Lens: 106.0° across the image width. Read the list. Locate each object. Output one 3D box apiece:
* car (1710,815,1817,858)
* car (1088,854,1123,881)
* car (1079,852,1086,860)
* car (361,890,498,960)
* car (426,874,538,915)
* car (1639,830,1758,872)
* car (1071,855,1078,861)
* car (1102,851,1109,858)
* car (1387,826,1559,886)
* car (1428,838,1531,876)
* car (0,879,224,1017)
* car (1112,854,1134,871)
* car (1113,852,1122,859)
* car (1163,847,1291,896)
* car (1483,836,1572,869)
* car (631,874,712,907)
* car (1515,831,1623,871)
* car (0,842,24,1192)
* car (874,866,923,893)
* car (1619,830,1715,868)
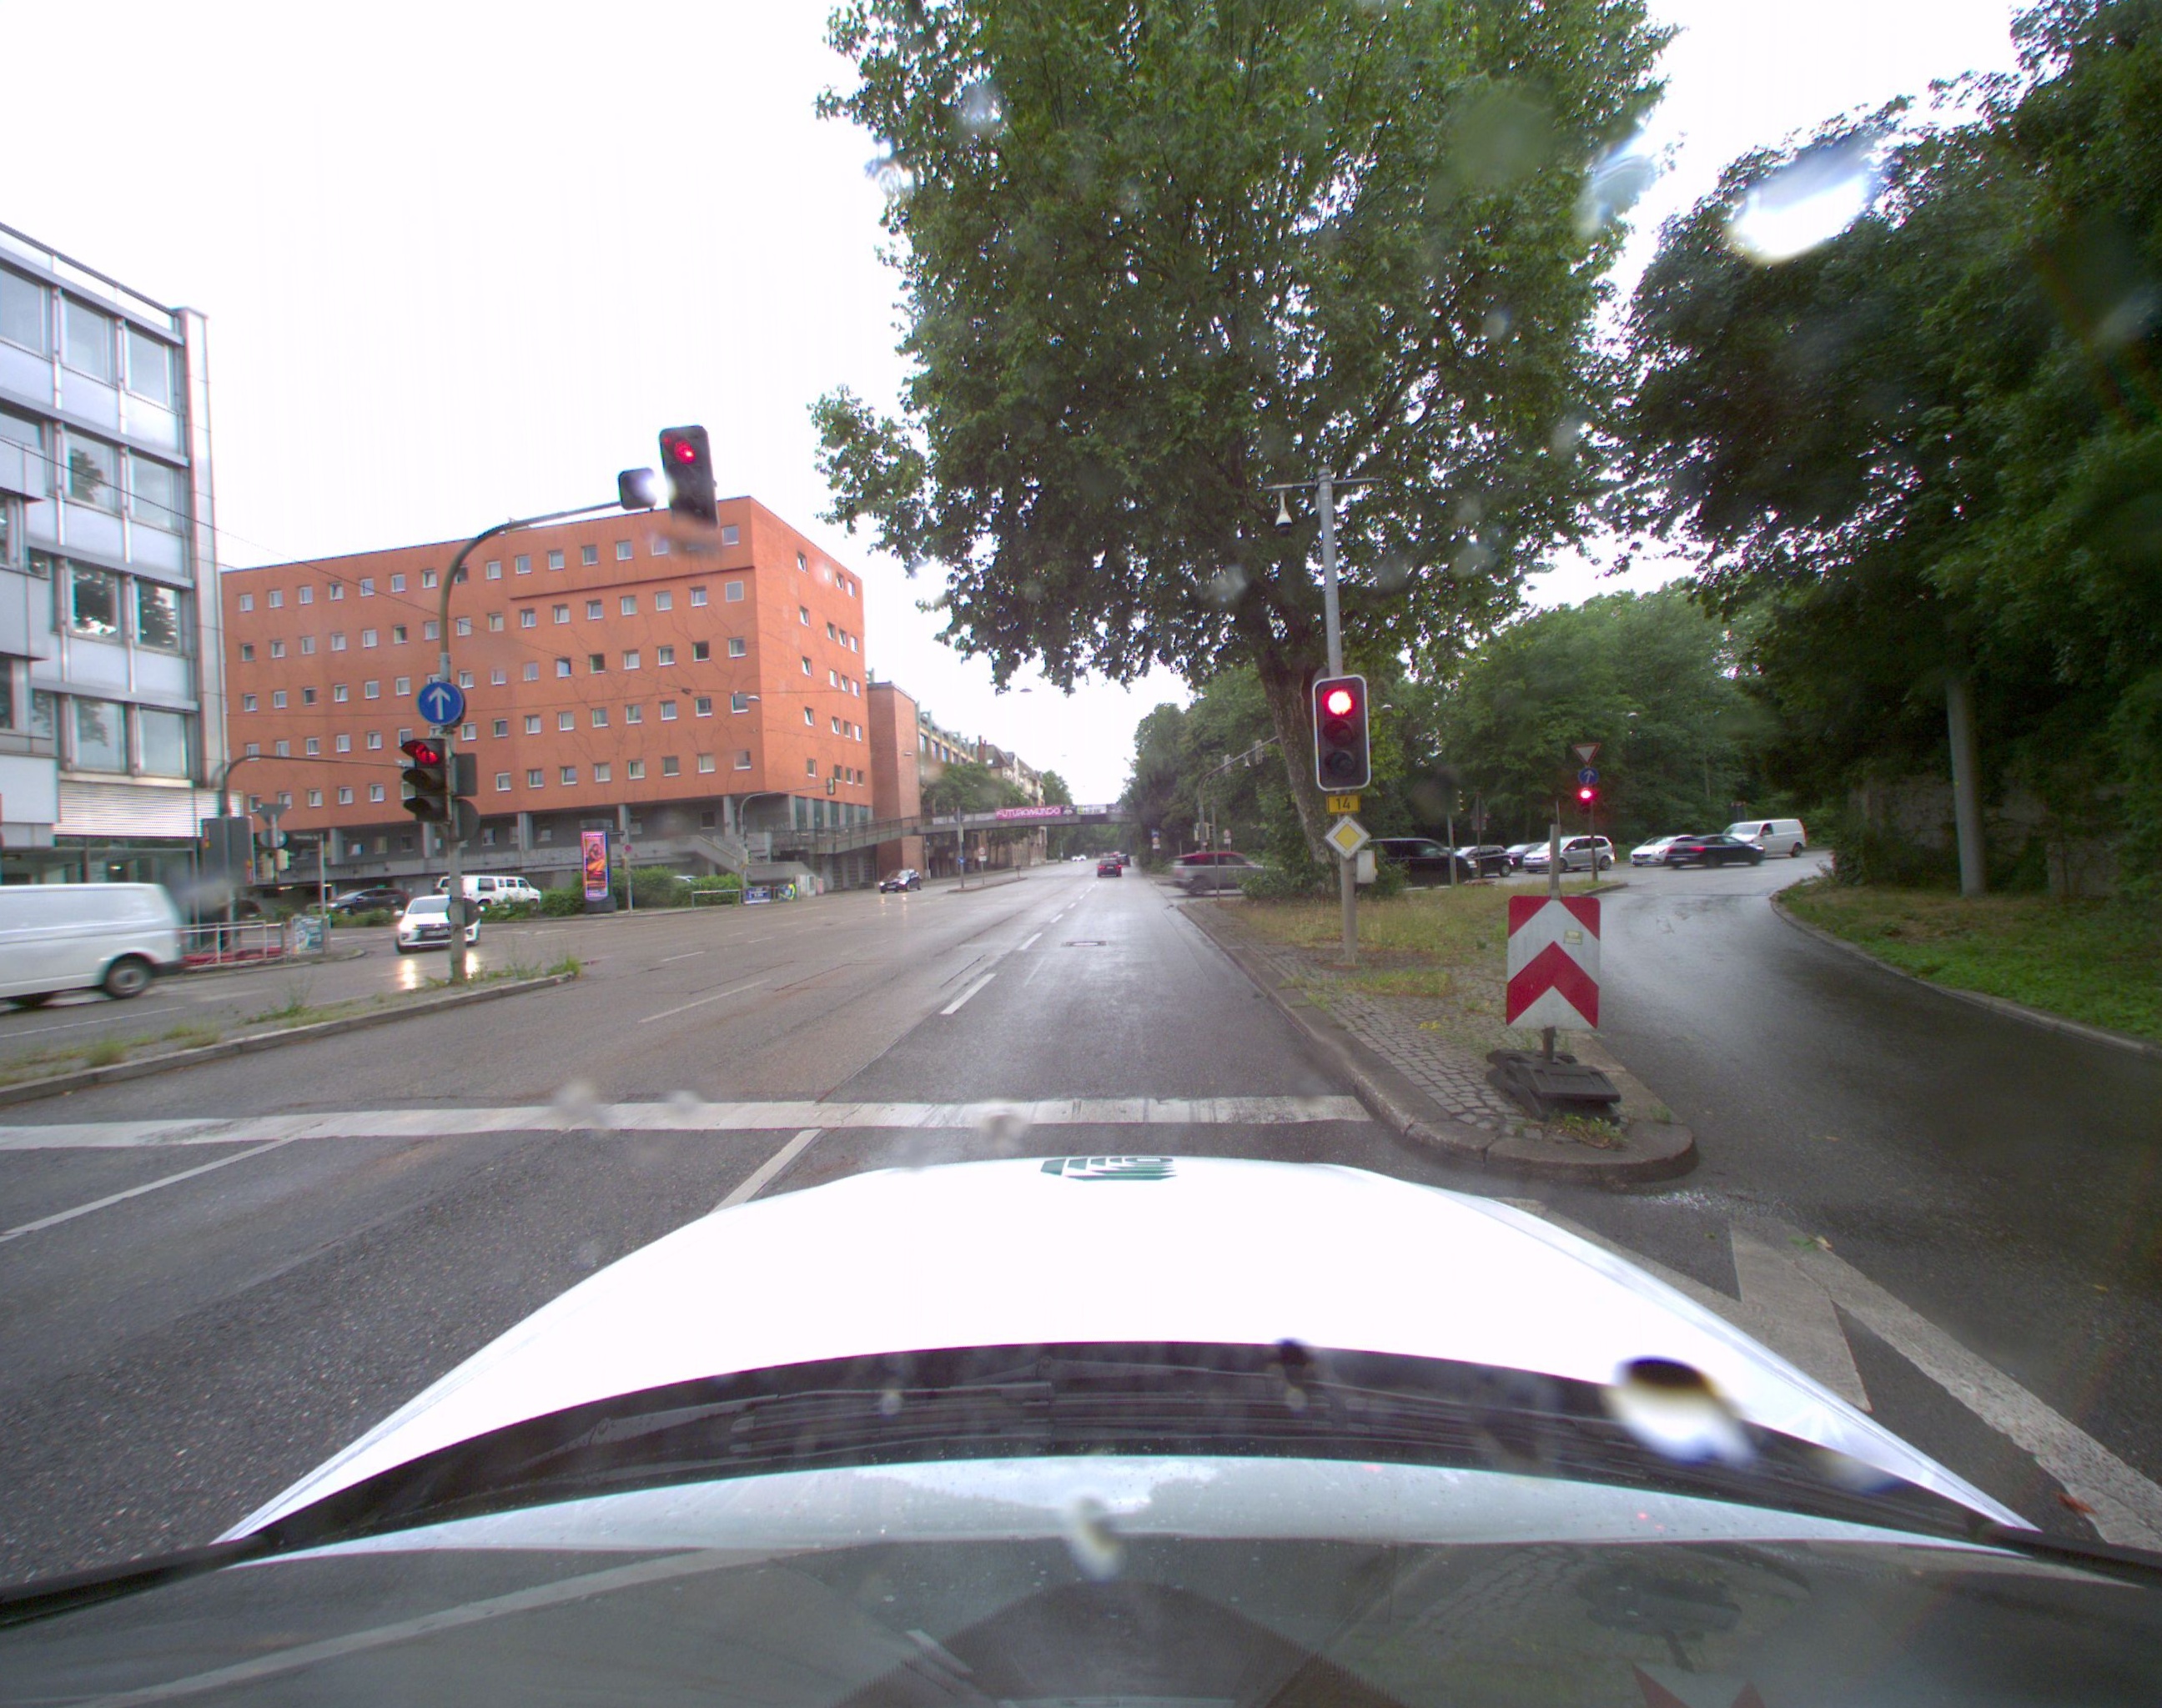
[{"bbox_3d":[34.887,-0.886,41.628,4.858,1.922,1.897,-3,-1,-18],"label":"car"},{"bbox_3d":[1.871,1.058,63.323,2.126,1.836,4.345,-5,-1,-5],"label":"car"},{"bbox_3d":[0.438,0.515,214.844,1.757,1.925,3.707,-5,-1,2],"label":"car"},{"bbox_3d":[-18.486,2.003,23.032,4.762,1.637,2.013,-5,-1,39],"label":"car"},{"bbox_3d":[-32.838,2.172,44.881,1.981,2.014,4.866,1,-1,11],"label":"car"},{"bbox_3d":[26.661,-0.118,35.194,4.133,1.446,1.580,-5,-1,-8],"label":"car"},{"bbox_3d":[-1.929,1.263,236.730,1.613,1.697,3.550,-5,-1,2],"label":"car"},{"bbox_3d":[6.855,0.207,223.587,1.757,1.697,3.707,-5,-1,2],"label":"car"},{"bbox_3d":[13.666,0.062,28.598,5.065,1.846,1.998,-2,-1,-3],"label":"car"},{"bbox_3d":[17.593,0.156,36.021,3.859,1.485,1.665,-2,-1,-14],"label":"car"},{"bbox_3d":[-16.627,1.468,12.099,1.985,1.932,5.216,-5,-1,3],"label":"car"},{"bbox_3d":[5.115,1.037,98.936,2.124,1.836,4.348,-5,-1,-3],"label":"car"},{"bbox_3d":[9.306,0.475,208.499,2.114,1.735,4.197,-1,1,-1],"label":"car"},{"bbox_3d":[5.529,0.646,31.170,4.499,1.638,1.879,-2,0,-3],"label":"car"},{"bbox_3d":[22.552,-0.056,41.141,3.834,1.486,1.734,-3,0,-18],"label":"car"},{"bbox_3d":[-25.194,2.233,50.173,3.988,1.618,1.900,-5,-1,11],"label":"car"},{"bbox_3d":[22.650,-0.124,37.848,4.267,1.486,1.765,-5,-1,-15],"label":"car"},{"bbox_3d":[-6.116,0.793,1.530,1.938,1.597,4.677,-1,1,5],"label":"car"},{"bbox_3d":[-11.408,1.578,51.211,1.986,1.519,4.002,-3,-1,2],"label":"car"},{"bbox_3d":[28.889,-0.243,40.163,3.999,1.486,1.763,-4,-1,-18],"label":"car"}]
